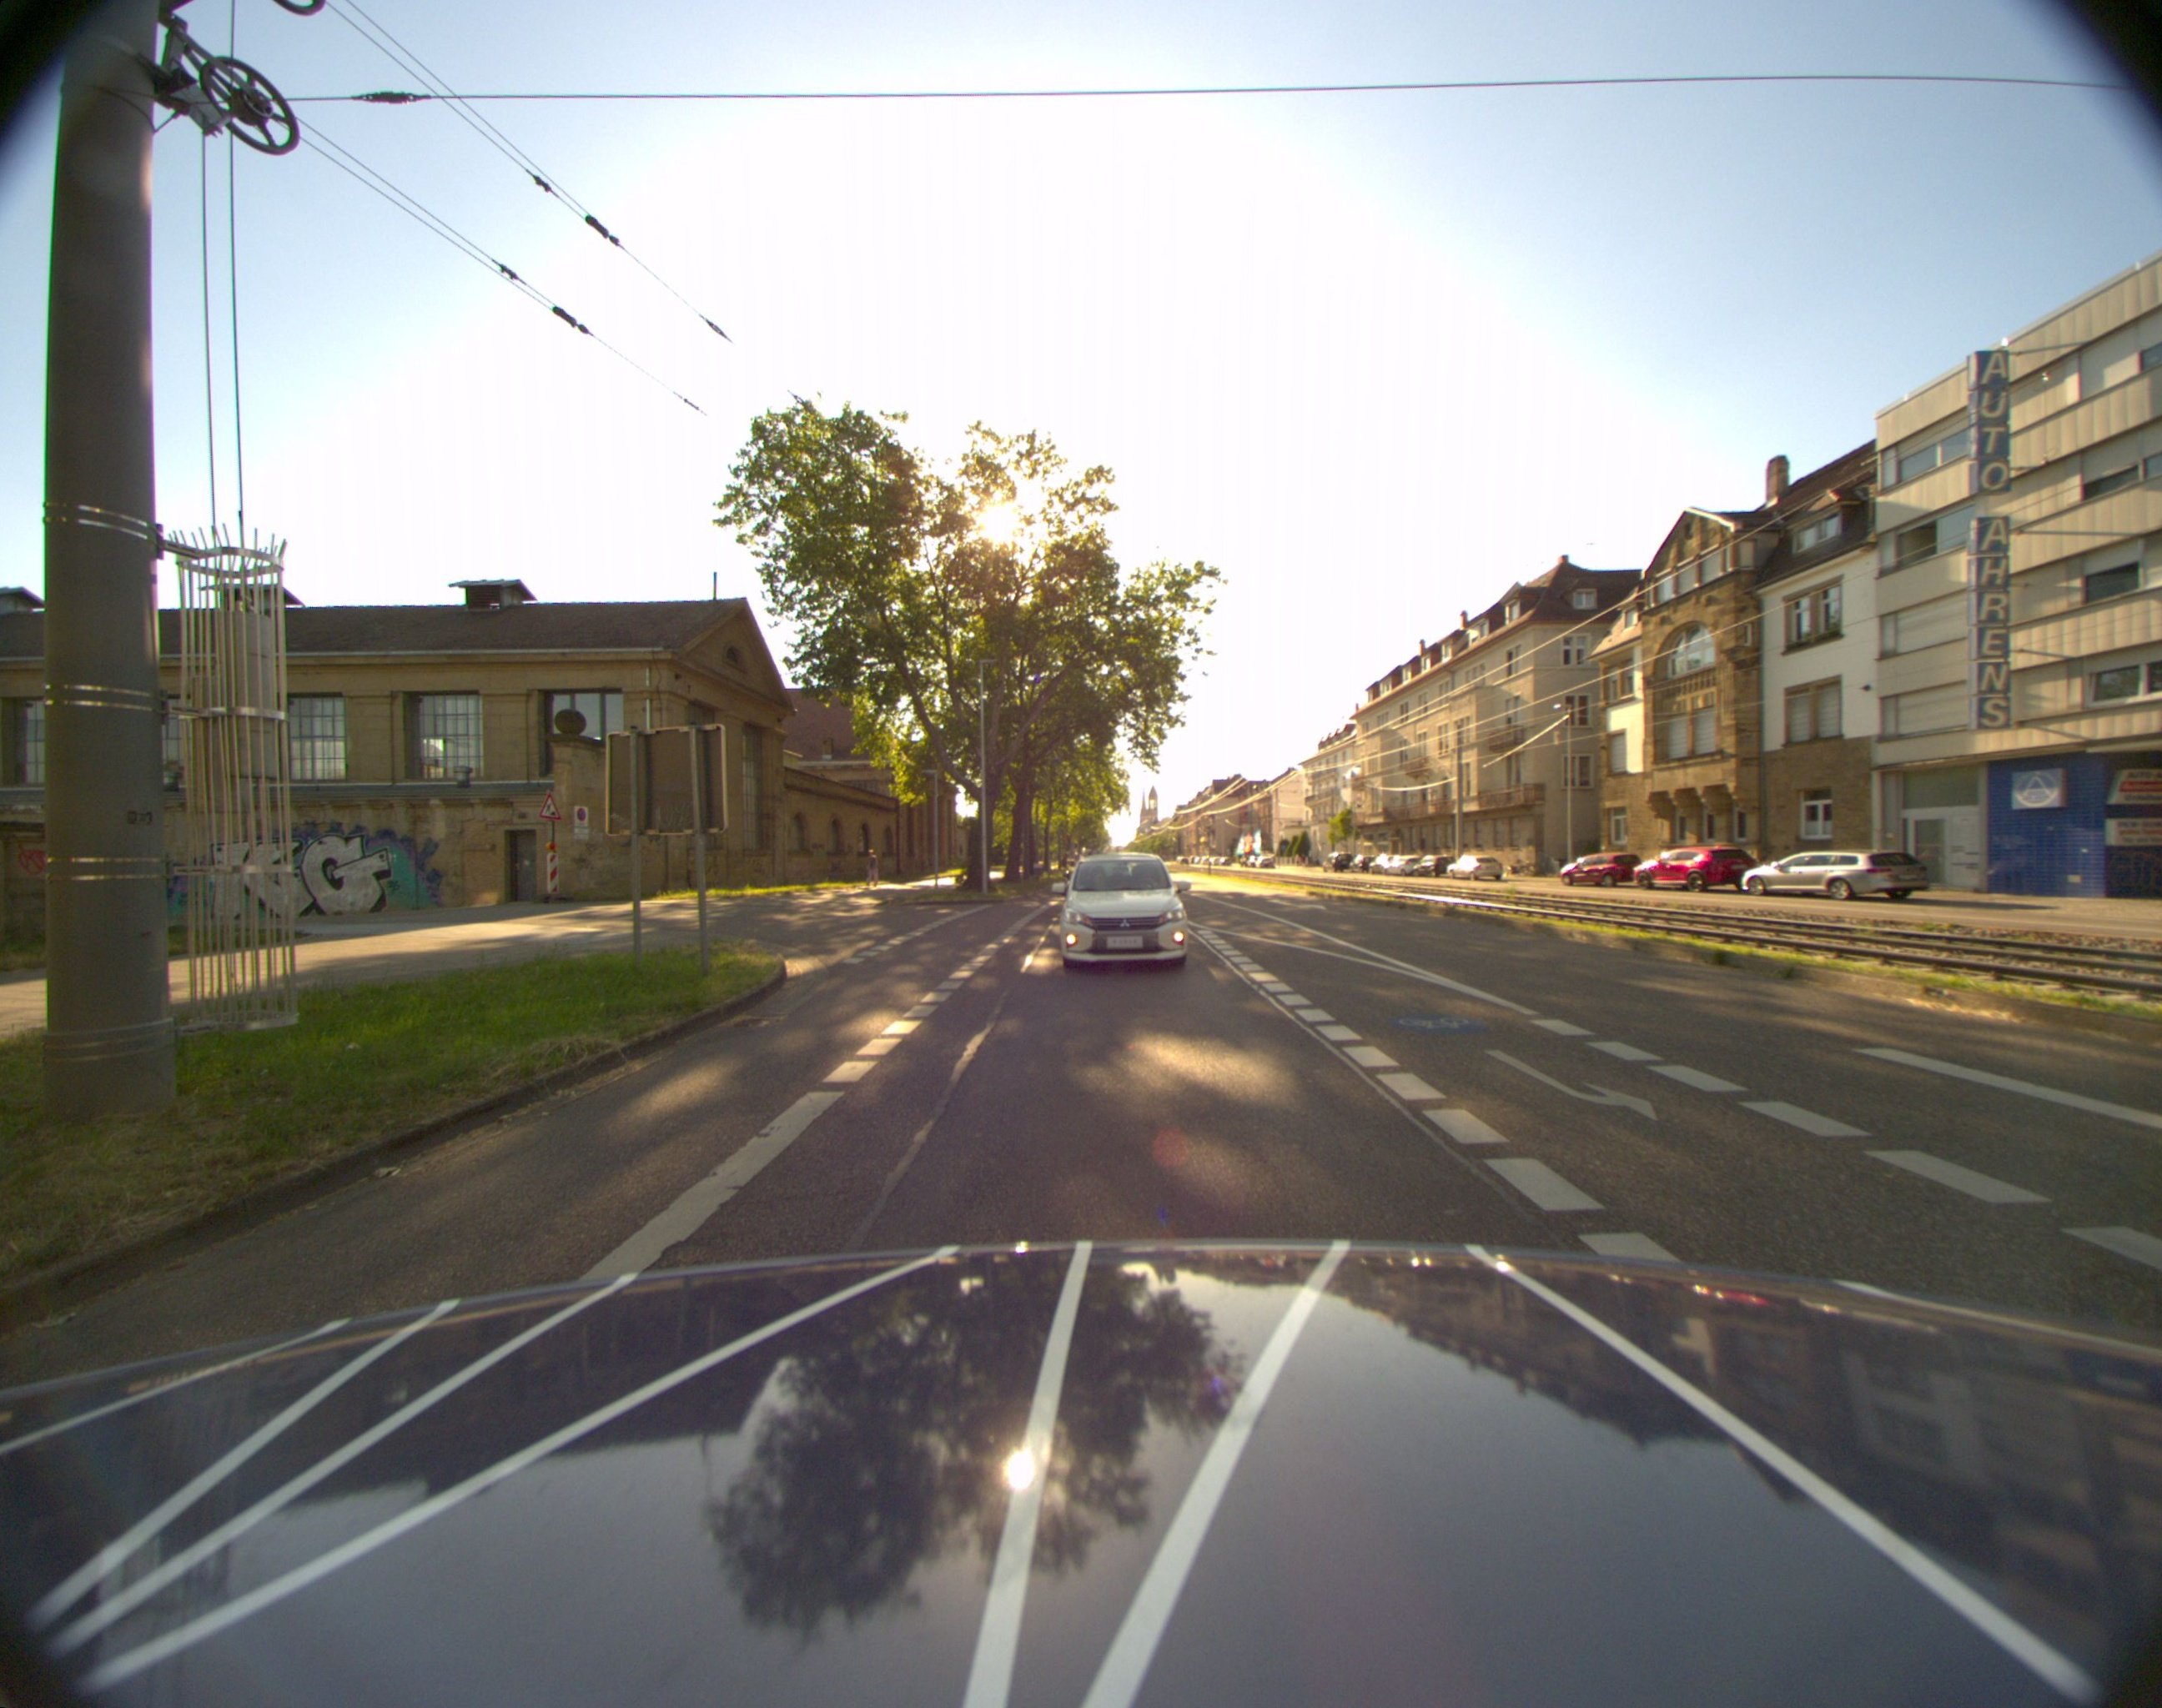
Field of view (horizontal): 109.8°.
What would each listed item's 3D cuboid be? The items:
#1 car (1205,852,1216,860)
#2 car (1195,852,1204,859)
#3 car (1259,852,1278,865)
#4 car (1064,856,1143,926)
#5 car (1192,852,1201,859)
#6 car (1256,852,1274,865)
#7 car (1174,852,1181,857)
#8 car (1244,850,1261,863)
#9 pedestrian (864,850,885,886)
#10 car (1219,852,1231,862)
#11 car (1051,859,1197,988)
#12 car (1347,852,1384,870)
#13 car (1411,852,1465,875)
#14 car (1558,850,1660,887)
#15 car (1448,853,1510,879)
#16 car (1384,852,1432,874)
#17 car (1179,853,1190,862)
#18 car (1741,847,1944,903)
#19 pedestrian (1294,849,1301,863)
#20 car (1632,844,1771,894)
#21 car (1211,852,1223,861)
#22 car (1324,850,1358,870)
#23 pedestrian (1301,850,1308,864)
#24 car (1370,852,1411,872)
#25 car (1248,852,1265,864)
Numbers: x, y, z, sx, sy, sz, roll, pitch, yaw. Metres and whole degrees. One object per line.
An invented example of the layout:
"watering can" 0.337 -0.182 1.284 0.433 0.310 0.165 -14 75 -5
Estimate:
"car" 26.553 0.384 155.641 1.624 1.581 3.450 -2 0 1
"car" 27.038 0.405 173.718 1.624 1.581 3.450 -2 0 1
"car" 24.223 0.575 98.212 1.677 1.622 3.408 -2 0 2
"car" 0.552 0.811 18.546 1.686 1.462 4.055 -1 0 2
"car" 27.077 0.410 178.629 1.624 1.581 3.450 -2 0 1
"car" 25.142 0.596 103.692 1.684 1.562 3.388 -2 0 1
"car" 28.436 0.125 223.801 1.624 1.581 3.450 -2 0 1
"car" 25.680 0.336 114.061 1.727 1.776 3.881 -2 0 1
"pedestrian" -9.540 0.641 35.147 0.672 1.652 0.874 0 1 3
"car" 25.482 0.506 134.429 1.624 1.581 3.450 -2 0 1
"car" 0.567 0.830 10.944 1.686 1.462 4.055 -1 0 2
"car" 24.799 0.606 66.337 1.802 1.470 3.823 -2 0 2
"car" 24.033 0.649 51.290 1.802 1.422 3.823 -2 0 0
"car" 23.567 0.623 34.091 1.756 1.487 3.728 -3 0 -5
"car" 23.960 0.690 45.922 1.802 1.470 3.823 -2 0 2
"car" 23.777 0.650 55.383 1.642 1.438 3.538 -2 0 -6
"car" 21.151 0.727 155.244 1.822 1.674 4.000 -1 0 2
"car" 23.320 0.607 23.552 1.860 1.490 4.382 -3 0 0
"pedestrian" 27.156 0.271 95.350 0.725 1.779 0.678 0 1 1
"car" 23.411 0.526 28.906 1.860 1.677 4.263 -3 0 2
"car" 25.691 0.459 143.778 1.624 1.581 3.450 -2 0 1
"car" 24.485 0.567 71.705 1.875 1.726 3.916 -2 0 2
"pedestrian" 28.029 0.355 95.225 0.725 1.779 0.678 0 1 1
"car" 24.533 0.624 60.345 1.802 1.470 3.823 -2 0 2
"car" 25.038 0.578 108.491 1.684 1.562 3.388 -2 0 1
